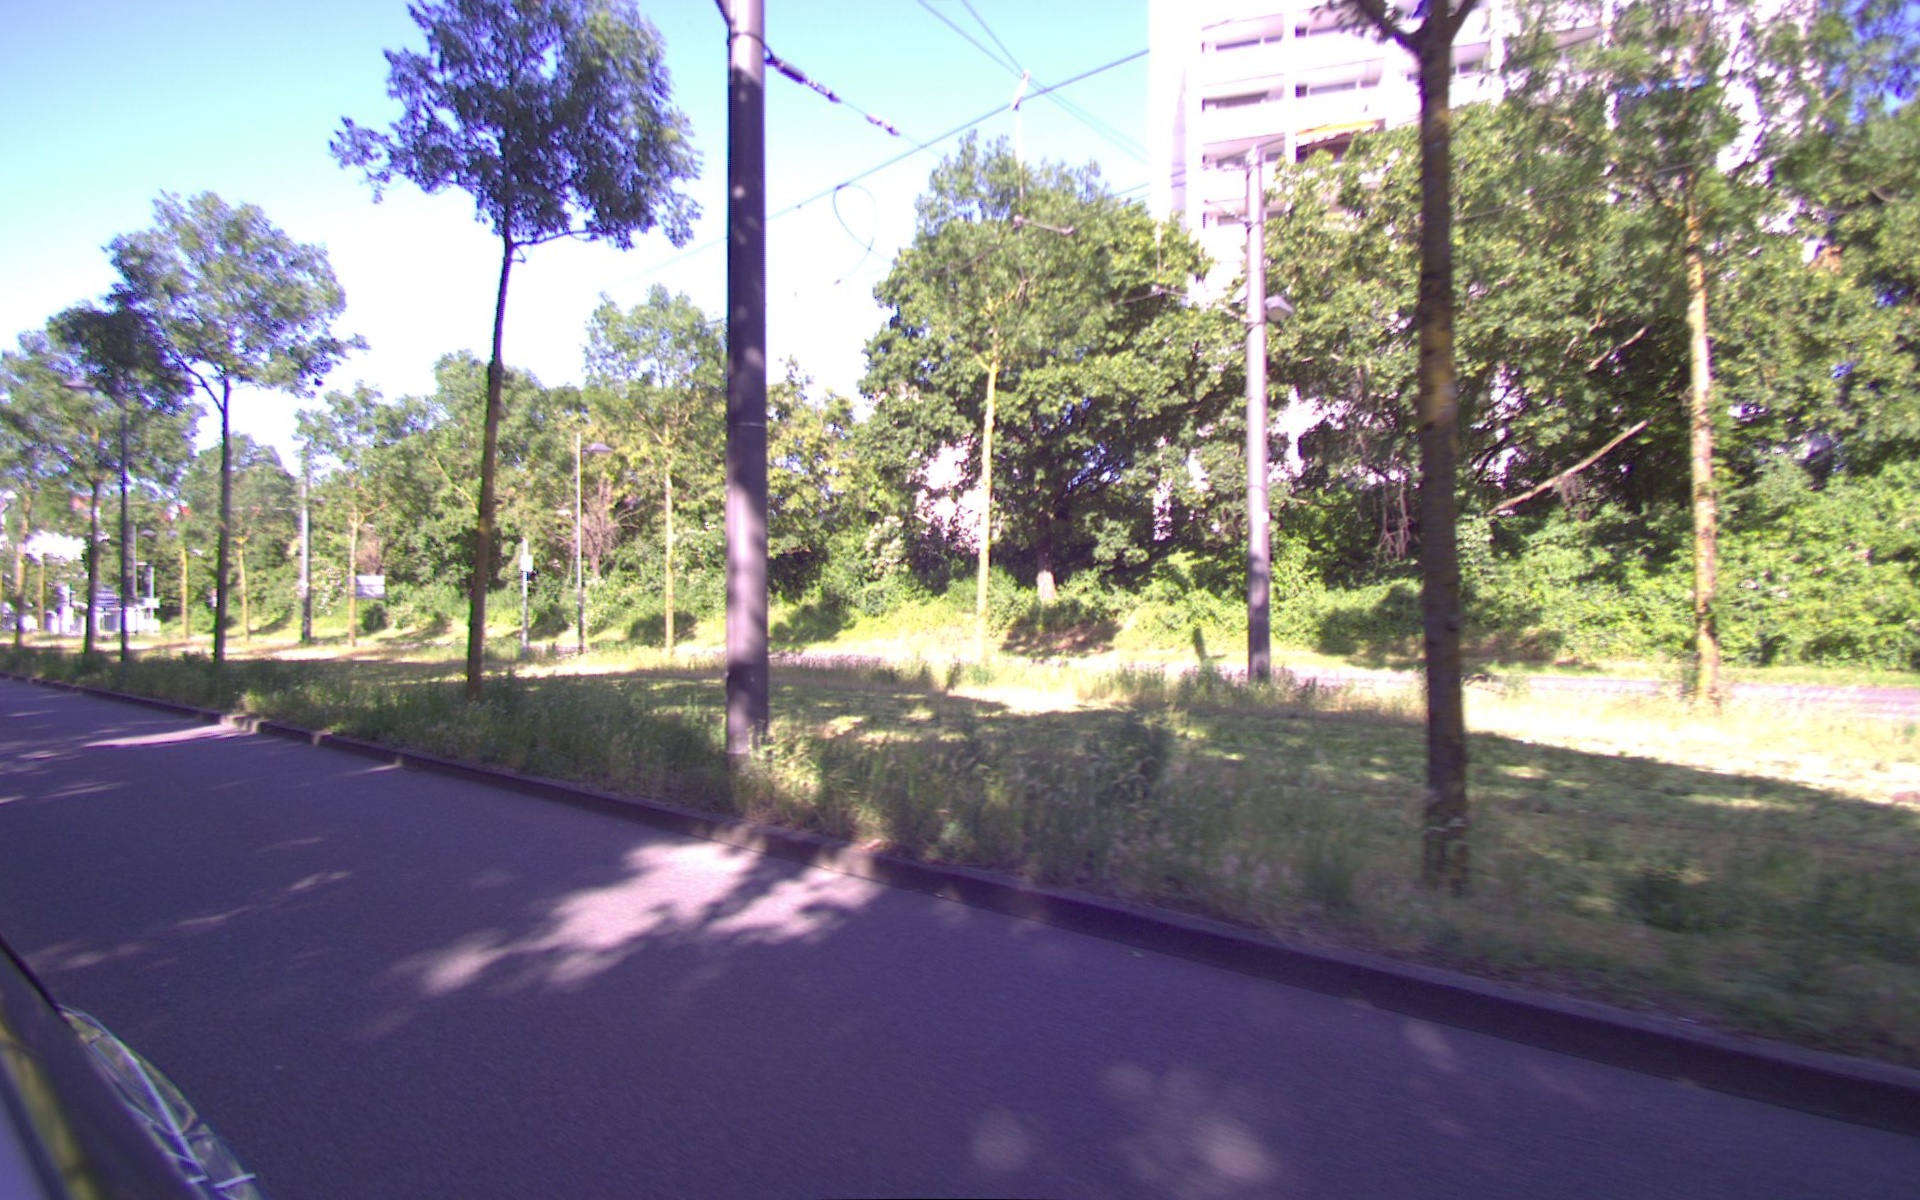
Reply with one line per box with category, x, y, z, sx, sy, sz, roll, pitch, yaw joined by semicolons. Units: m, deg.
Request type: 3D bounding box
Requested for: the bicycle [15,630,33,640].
bicycle;-118.940;4.424;128.613;2.535;1.222;0.714;-1;-2;23
